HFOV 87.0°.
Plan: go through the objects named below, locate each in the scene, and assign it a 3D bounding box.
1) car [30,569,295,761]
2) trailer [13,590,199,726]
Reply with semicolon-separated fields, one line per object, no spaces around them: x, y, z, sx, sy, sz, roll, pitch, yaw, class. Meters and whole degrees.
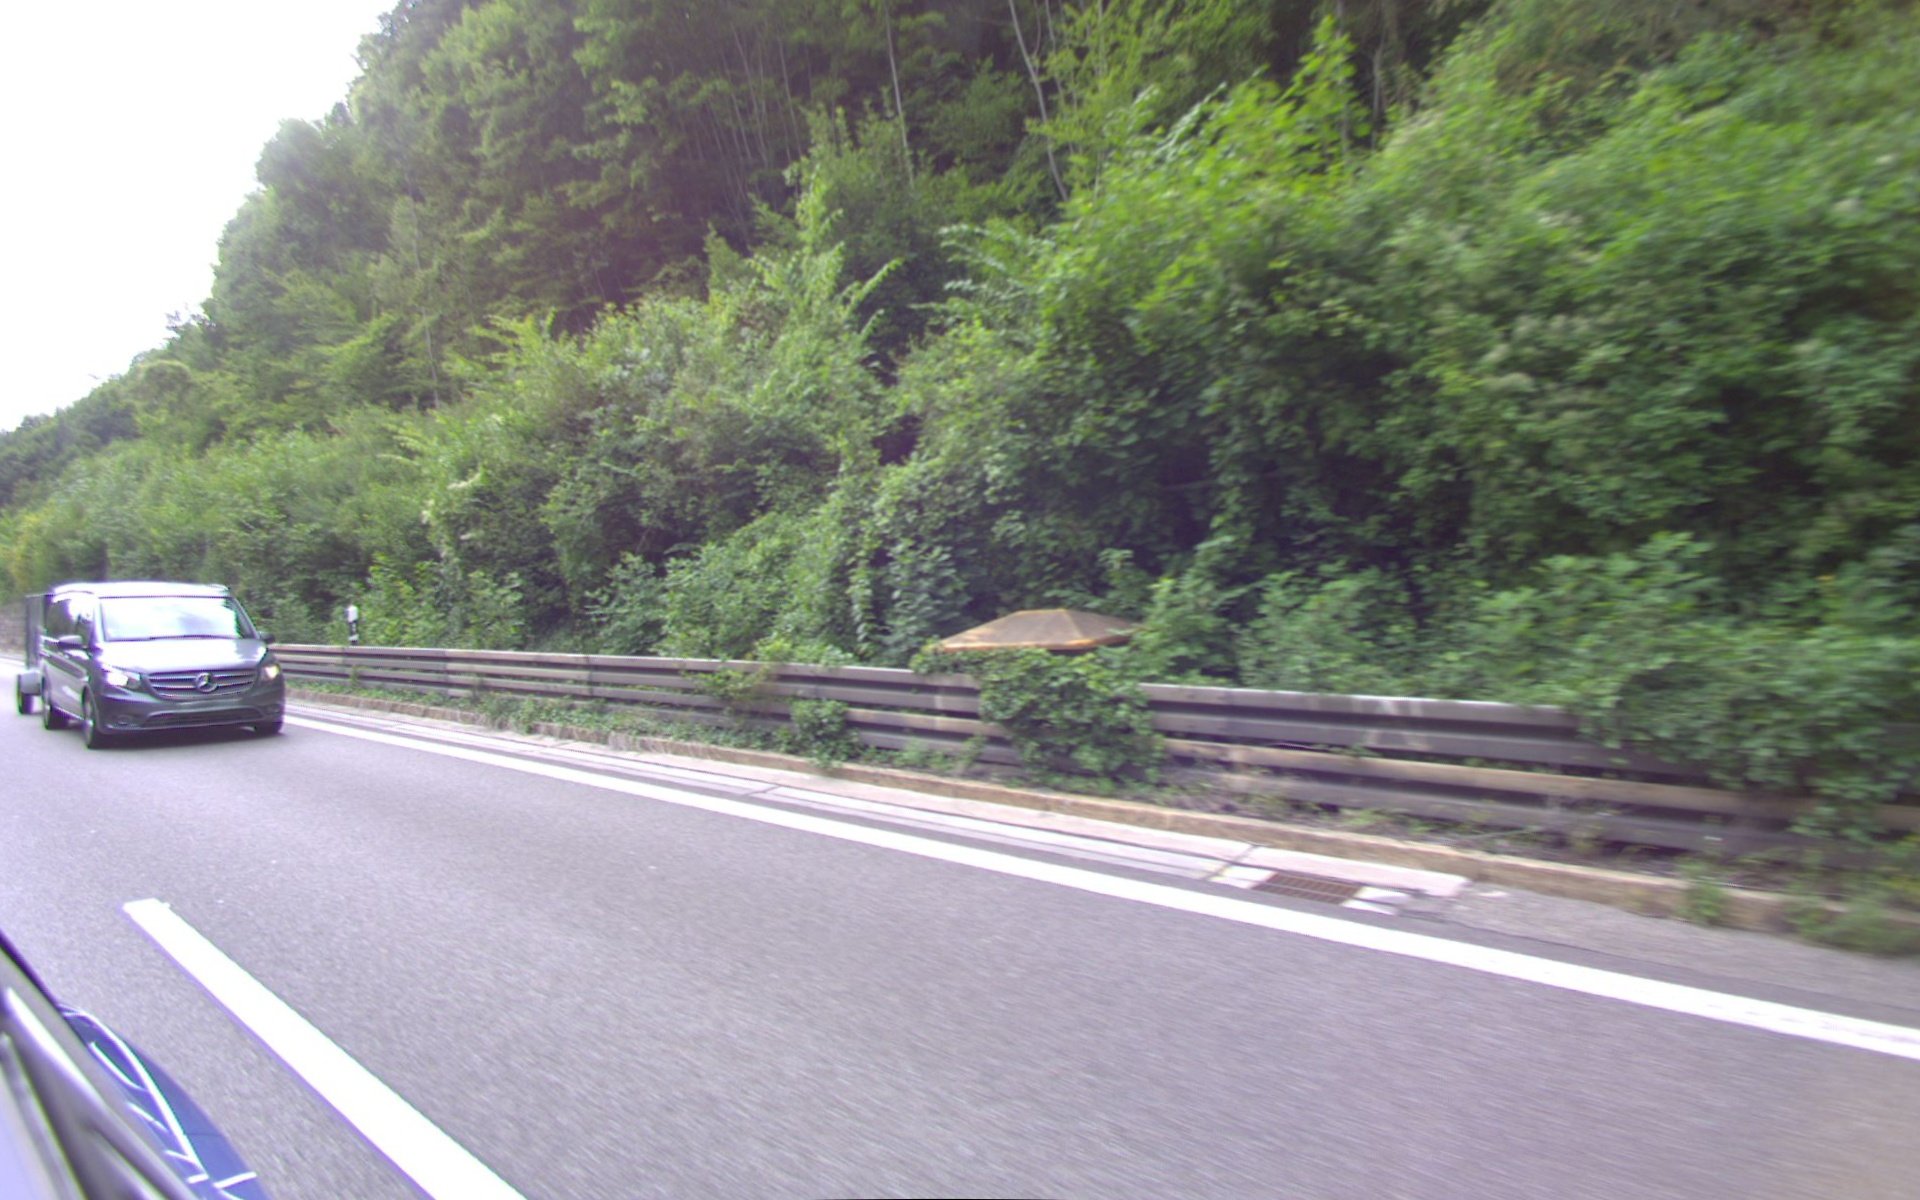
-10.678;0.759;13.346;5.541;2.029;1.971;-2;-1;44;car
-13.910;0.878;16.434;3.431;1.954;1.949;-2;-1;43;trailer
